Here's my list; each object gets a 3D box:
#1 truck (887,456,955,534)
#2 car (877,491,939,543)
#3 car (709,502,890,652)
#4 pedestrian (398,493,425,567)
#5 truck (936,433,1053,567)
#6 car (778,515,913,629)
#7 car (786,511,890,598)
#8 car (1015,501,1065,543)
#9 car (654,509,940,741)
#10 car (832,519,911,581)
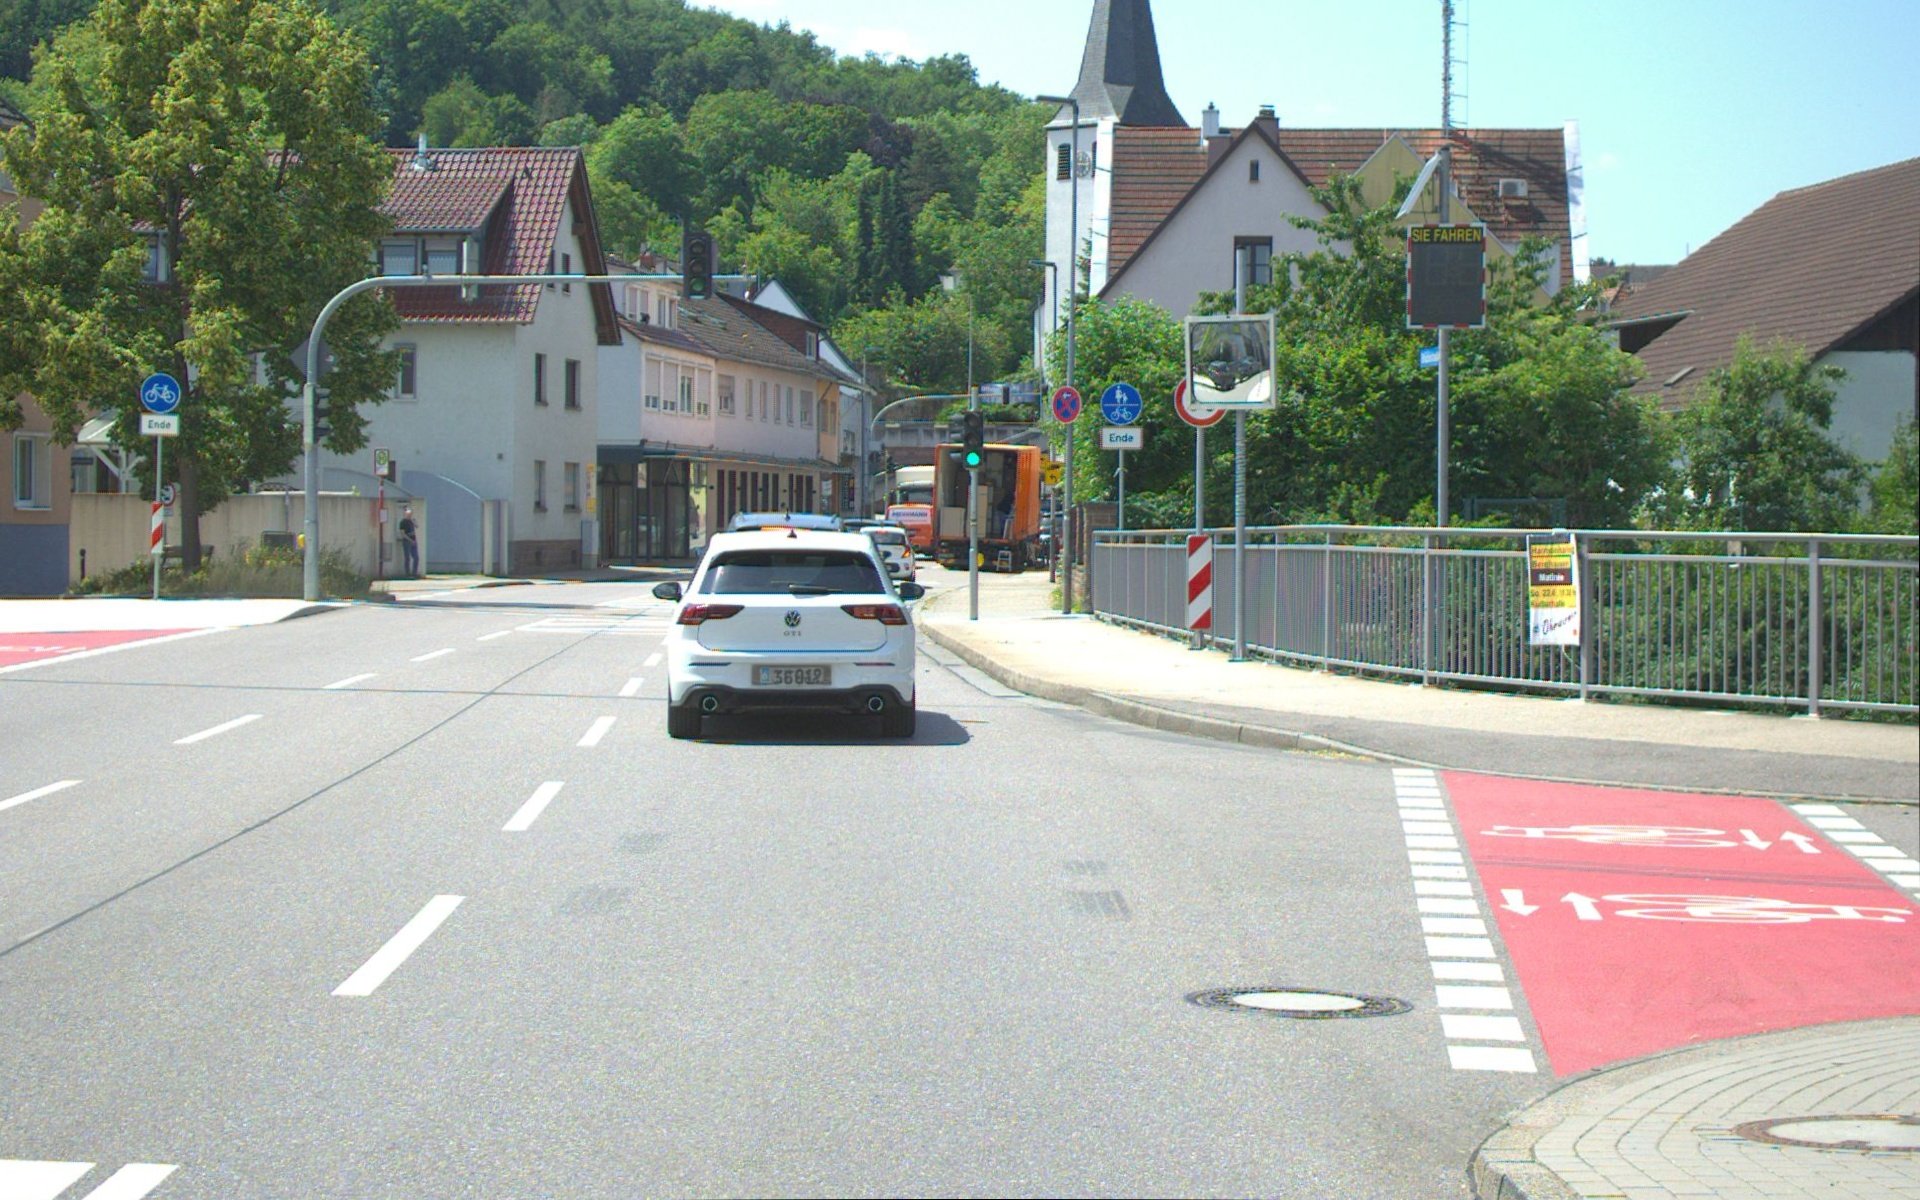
[{"bbox_3d":[-1.635,-4.489,147.776,2.502,3.224,6.040,0,1,3],"label":"truck"},{"bbox_3d":[-1.758,-2.832,117.766,1.993,1.699,4.312,0,1,1],"label":"car"},{"bbox_3d":[-1.786,-0.271,39.356,1.815,1.623,4.000,0,1,1],"label":"car"},{"bbox_3d":[-13.148,-1.685,82.427,0.434,1.758,0.556,1,1,20],"label":"pedestrian"},{"bbox_3d":[1.196,-3.189,112.106,3.367,4.155,9.518,0,1,3],"label":"truck"},{"bbox_3d":[-1.668,-0.429,51.317,1.815,1.623,4.000,0,1,1],"label":"car"},{"bbox_3d":[-2.341,-0.883,66.811,1.815,1.623,4.000,0,1,1],"label":"car"},{"bbox_3d":[2.946,-2.876,127.261,1.815,1.514,4.000,0,1,1],"label":"car"},{"bbox_3d":[-1.118,0.142,25.353,1.815,1.514,4.000,2,1,1],"label":"car"},{"bbox_3d":[-2.206,-1.251,86.426,1.815,1.514,4.000,0,1,1],"label":"car"}]
